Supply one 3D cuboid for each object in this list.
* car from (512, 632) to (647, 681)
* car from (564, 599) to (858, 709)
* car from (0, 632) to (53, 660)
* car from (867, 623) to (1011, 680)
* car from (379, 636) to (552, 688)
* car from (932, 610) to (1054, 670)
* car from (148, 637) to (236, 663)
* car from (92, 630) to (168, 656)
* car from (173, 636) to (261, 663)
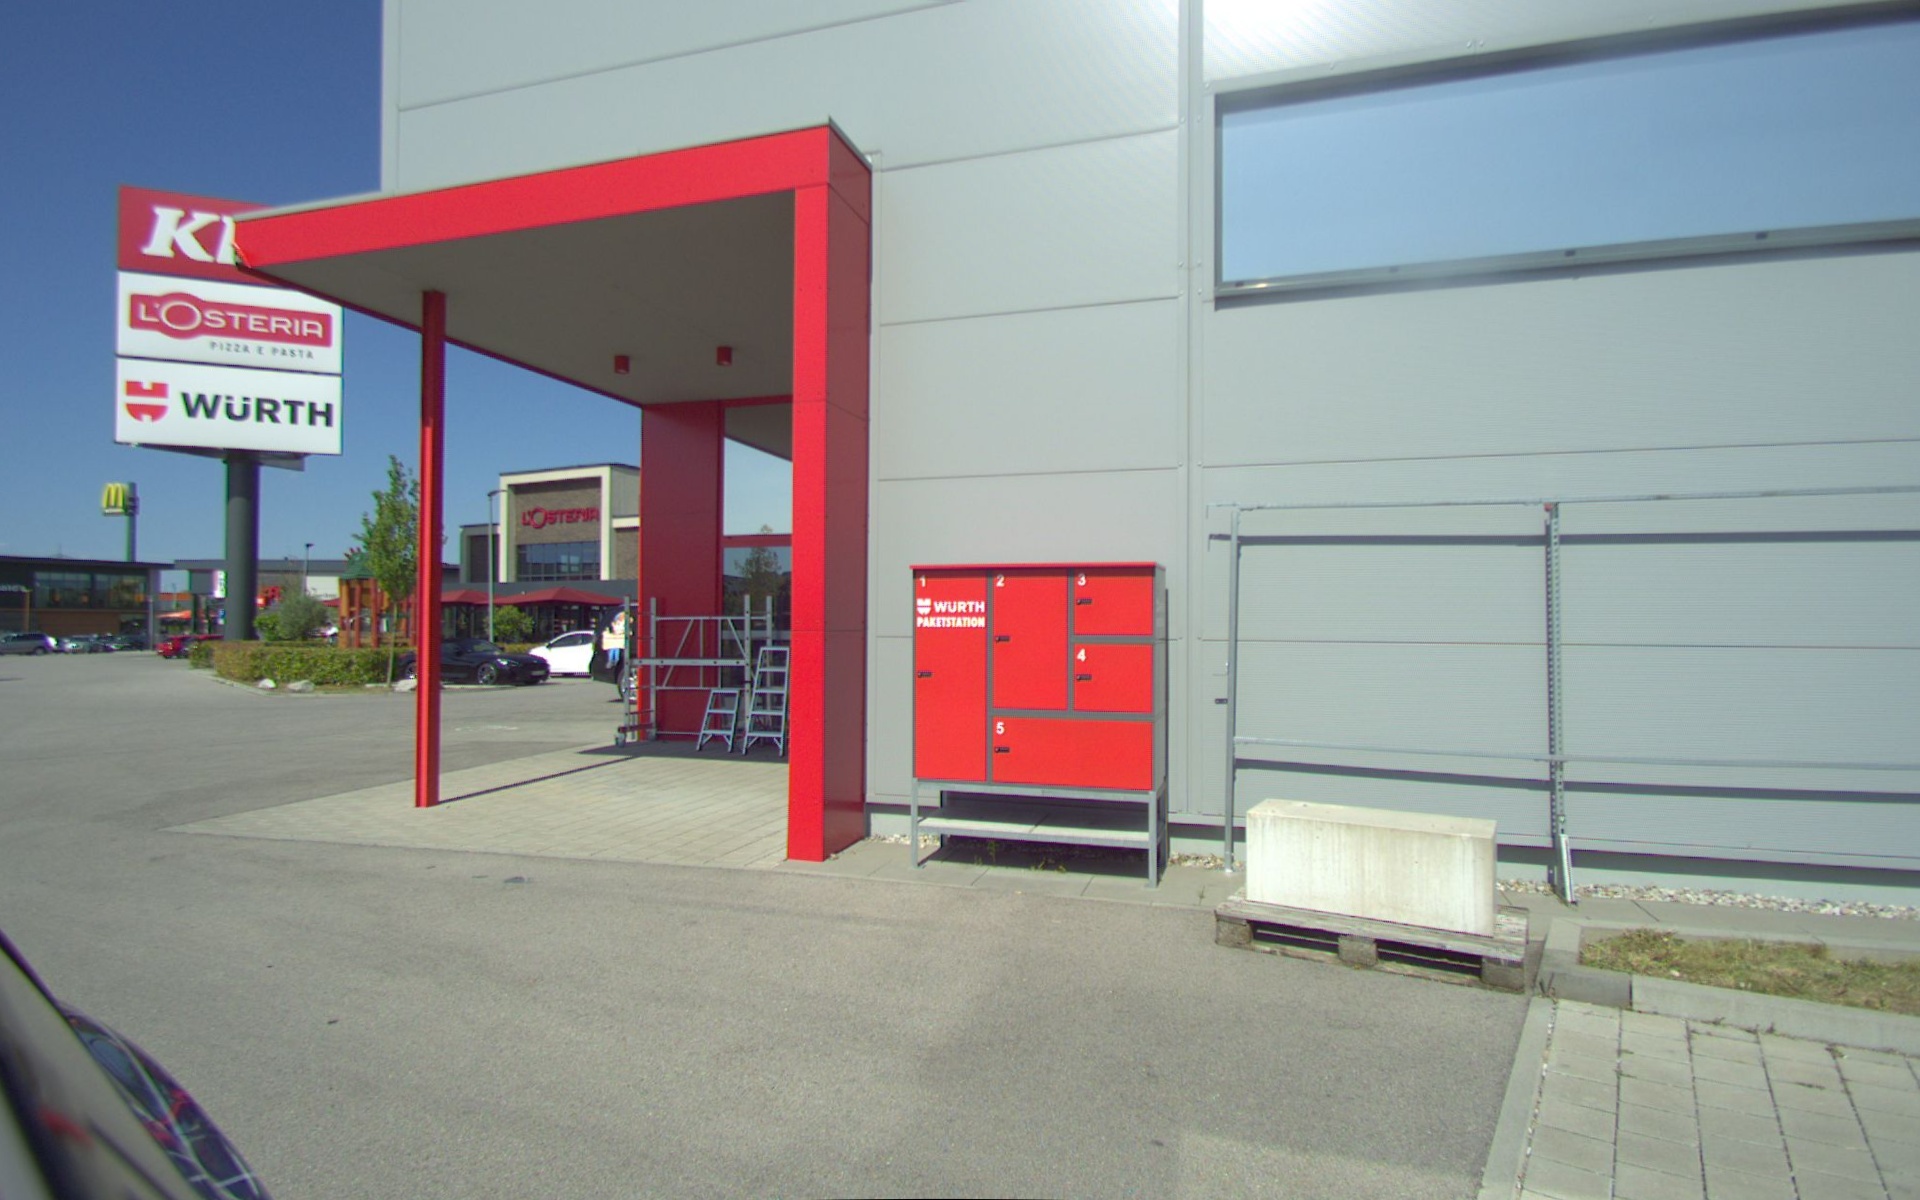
[{"bbox_3d":[-12.181,1.788,32.410,3.886,1.486,1.790,-1,-2,22],"label":"car"},{"bbox_3d":[-4.839,1.028,19.774,5.335,1.953,2.019,-1,-2,18],"label":"car"},{"bbox_3d":[-70.267,3.394,74.738,1.990,2.029,4.443,-1,-1,27],"label":"car"},{"bbox_3d":[-0.624,1.528,30.248,3.968,1.629,1.770,-1,-2,19],"label":"car"},{"bbox_3d":[-13.544,1.680,27.771,4.117,1.348,1.821,-1,-2,16],"label":"car"},{"bbox_3d":[1.185,1.399,35.681,3.962,2.029,1.990,-1,-1,15],"label":"car"},{"bbox_3d":[-48.665,3.147,64.177,1.870,1.577,4.058,-2,-2,28],"label":"car"},{"bbox_3d":[-68.456,3.561,83.569,1.990,2.029,4.443,-1,-1,27],"label":"car"},{"bbox_3d":[-46.210,3.047,63.019,1.870,1.577,4.058,-2,-2,28],"label":"car"}]
